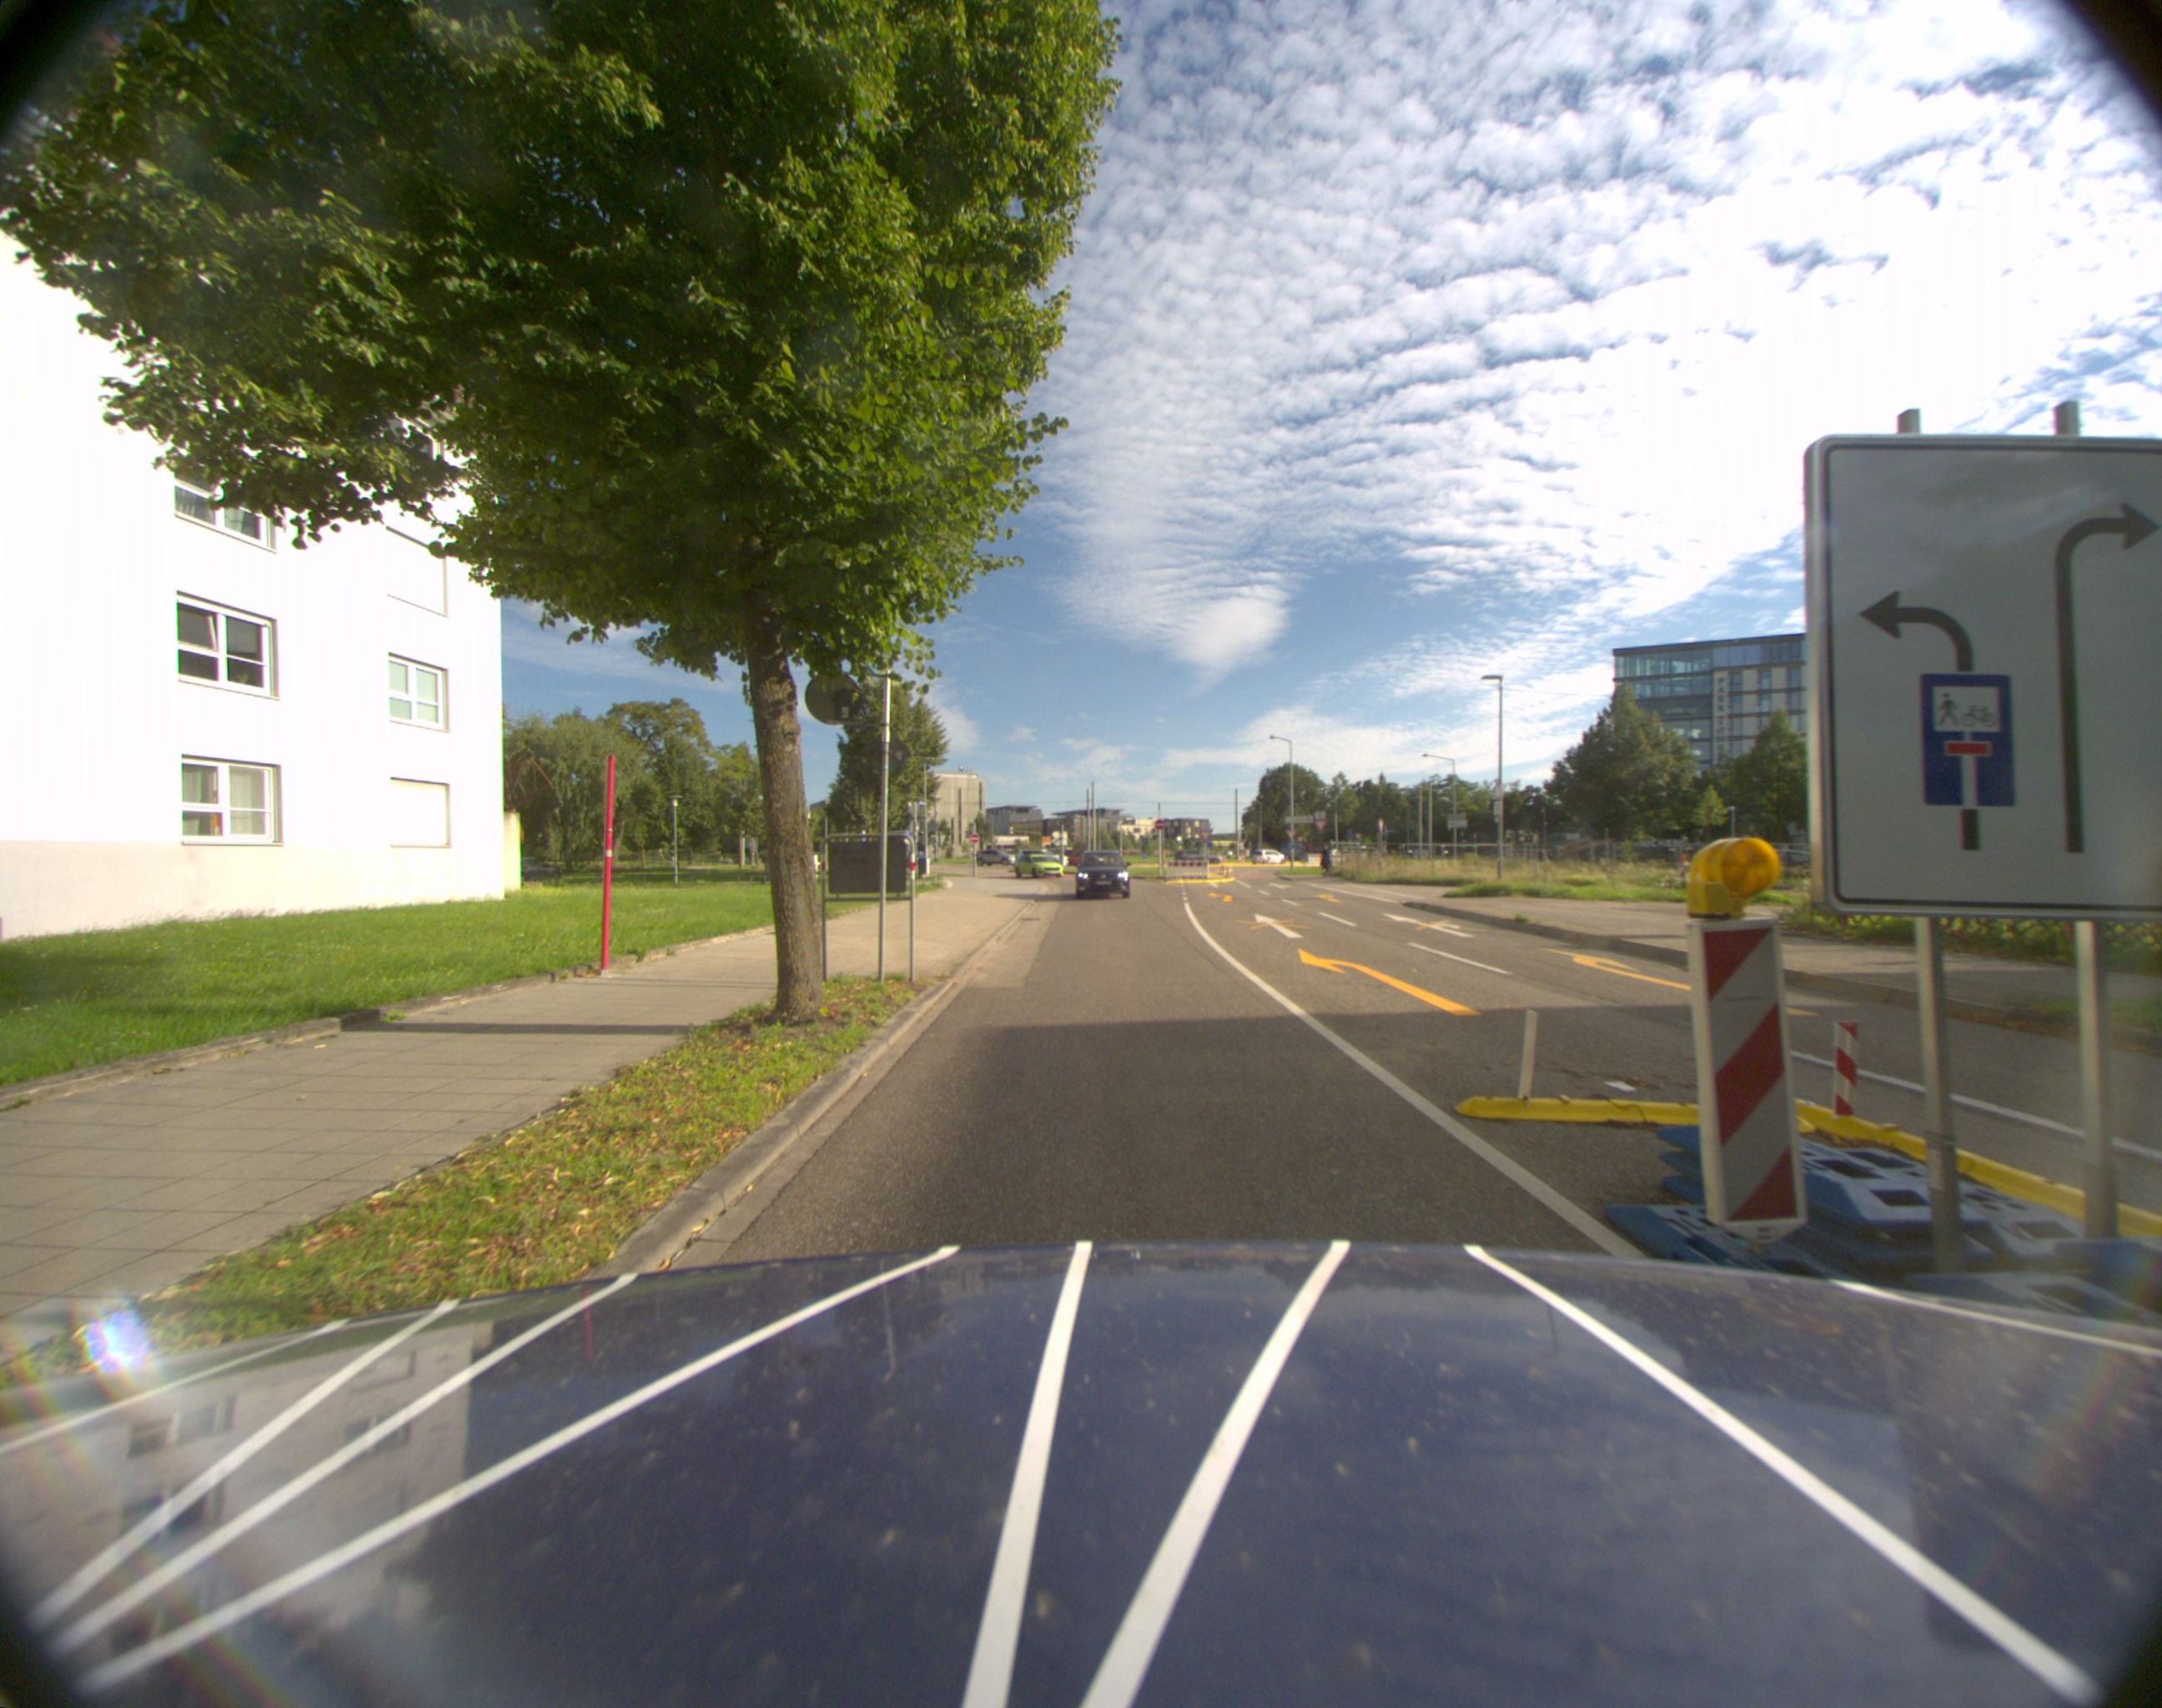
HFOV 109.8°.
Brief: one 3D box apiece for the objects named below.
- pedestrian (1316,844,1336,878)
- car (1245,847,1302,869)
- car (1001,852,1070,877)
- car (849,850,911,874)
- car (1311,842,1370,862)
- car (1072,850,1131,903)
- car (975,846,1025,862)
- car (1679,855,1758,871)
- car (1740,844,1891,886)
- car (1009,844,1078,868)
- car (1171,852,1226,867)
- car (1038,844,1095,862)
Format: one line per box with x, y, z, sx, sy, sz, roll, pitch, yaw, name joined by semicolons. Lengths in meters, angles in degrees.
13.415;0.359;41.671;0.710;1.813;0.744;-2;1;-20;pedestrian
19.366;0.377;76.484;5.512;2.047;2.471;-2;1;-34;car
-2.976;0.611;48.493;2.045;1.461;5.974;-2;1;-28;car
-16.946;0.675;63.881;5.389;1.856;1.843;-1;1;33;car
27.612;-0.233;80.883;5.812;2.047;2.472;-2;1;-24;car
0.716;0.712;26.111;1.821;1.648;4.243;-1;0;2;car
-7.702;0.002;72.327;4.254;1.477;2.003;0;1;19;car
54.635;0.750;65.268;4.801;1.344;2.003;0;1;21;car
31.512;0.420;32.703;2.003;1.648;4.401;-2;1;-36;car
-3.312;0.162;65.647;2.482;1.856;6.234;-2;2;-43;car
11.143;0.539;72.031;4.816;1.344;1.996;-1;1;-20;car
-1.358;-0.074;71.037;4.860;1.515;2.308;-1;1;14;car
